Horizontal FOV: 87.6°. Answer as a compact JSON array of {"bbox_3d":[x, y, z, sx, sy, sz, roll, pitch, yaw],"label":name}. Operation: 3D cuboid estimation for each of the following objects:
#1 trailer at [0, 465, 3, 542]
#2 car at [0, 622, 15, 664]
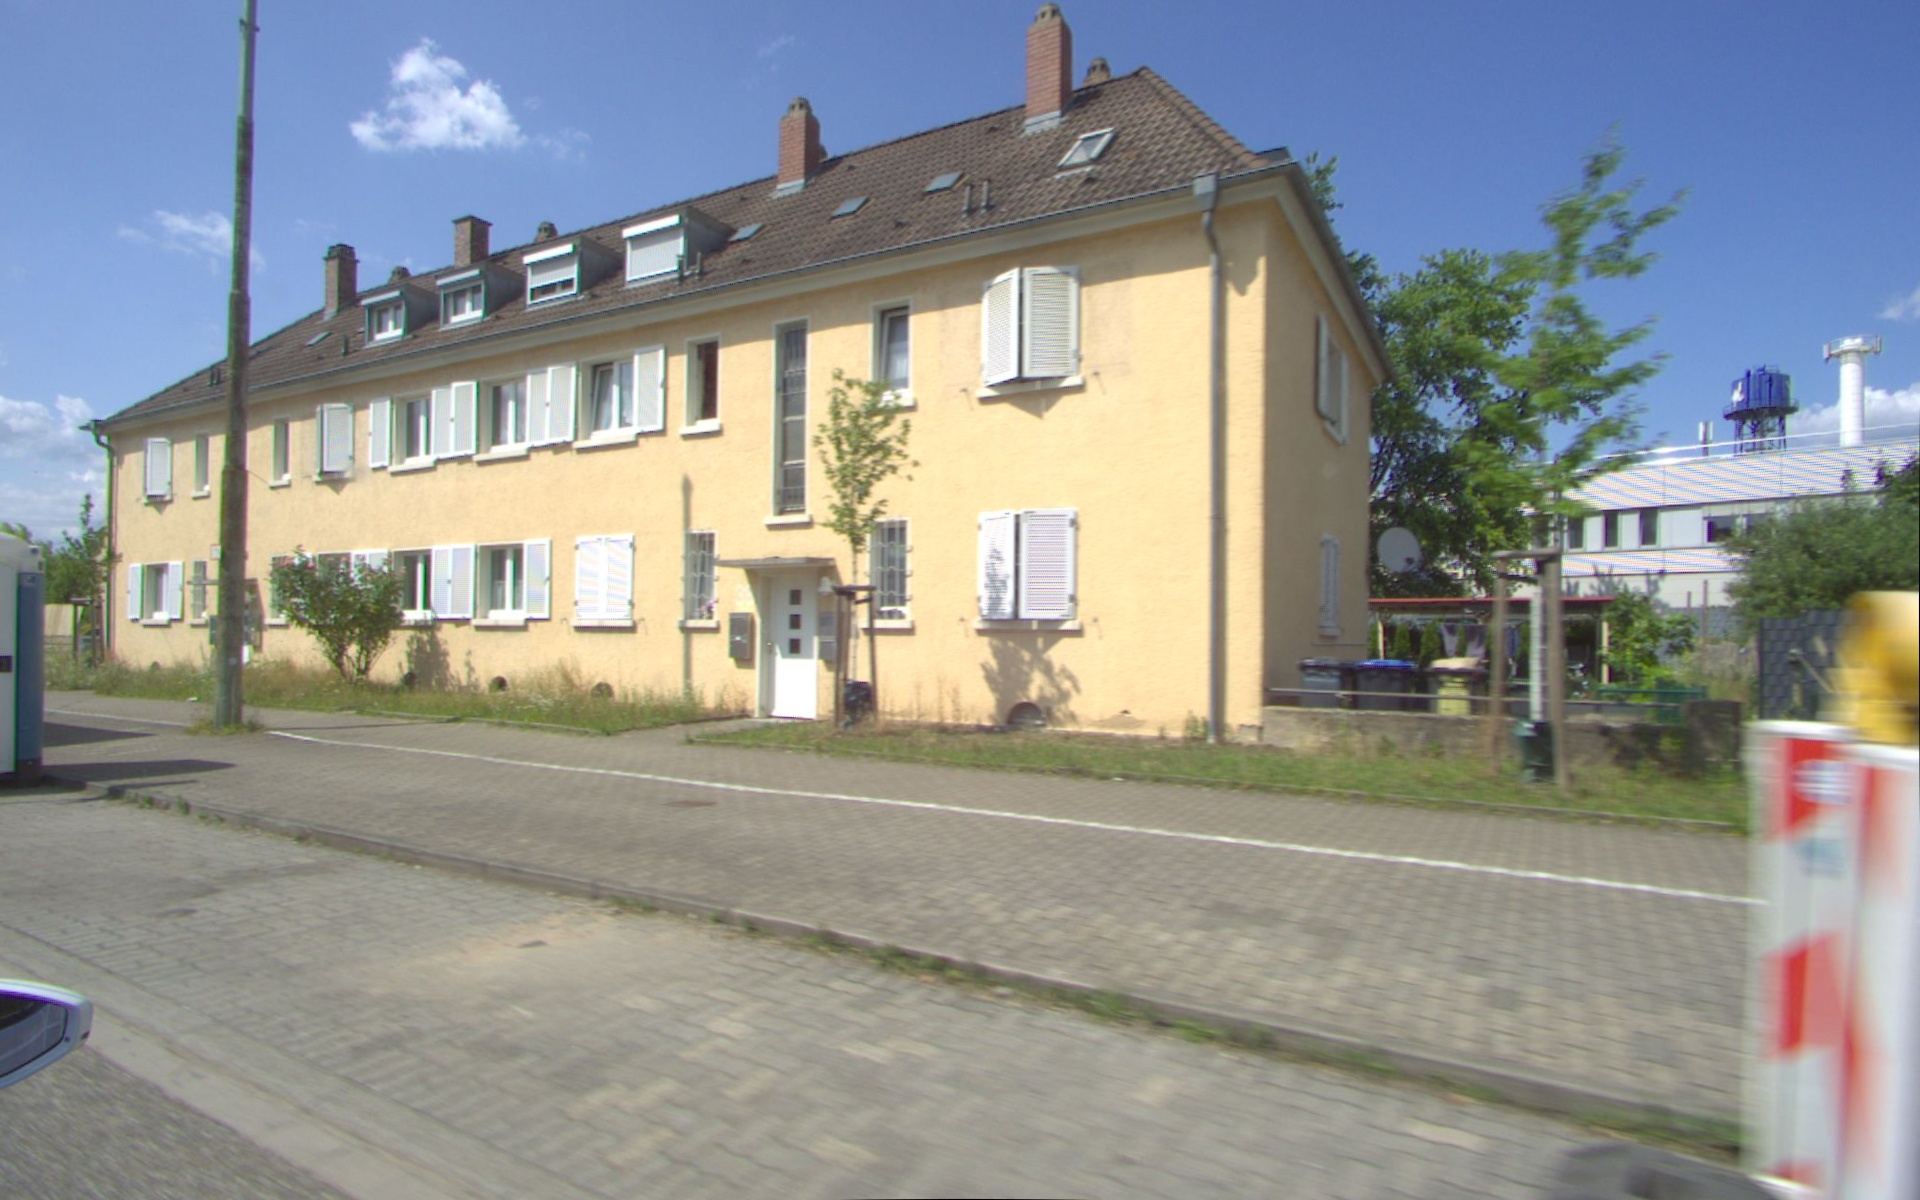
[{"bbox_3d":[-14.009,0.019,11.672,5.004,3.267,2.689,0,-2,29],"label":"trailer"},{"bbox_3d":[-34.113,1.420,33.862,4.019,1.391,1.638,0,-2,23],"label":"car"}]
